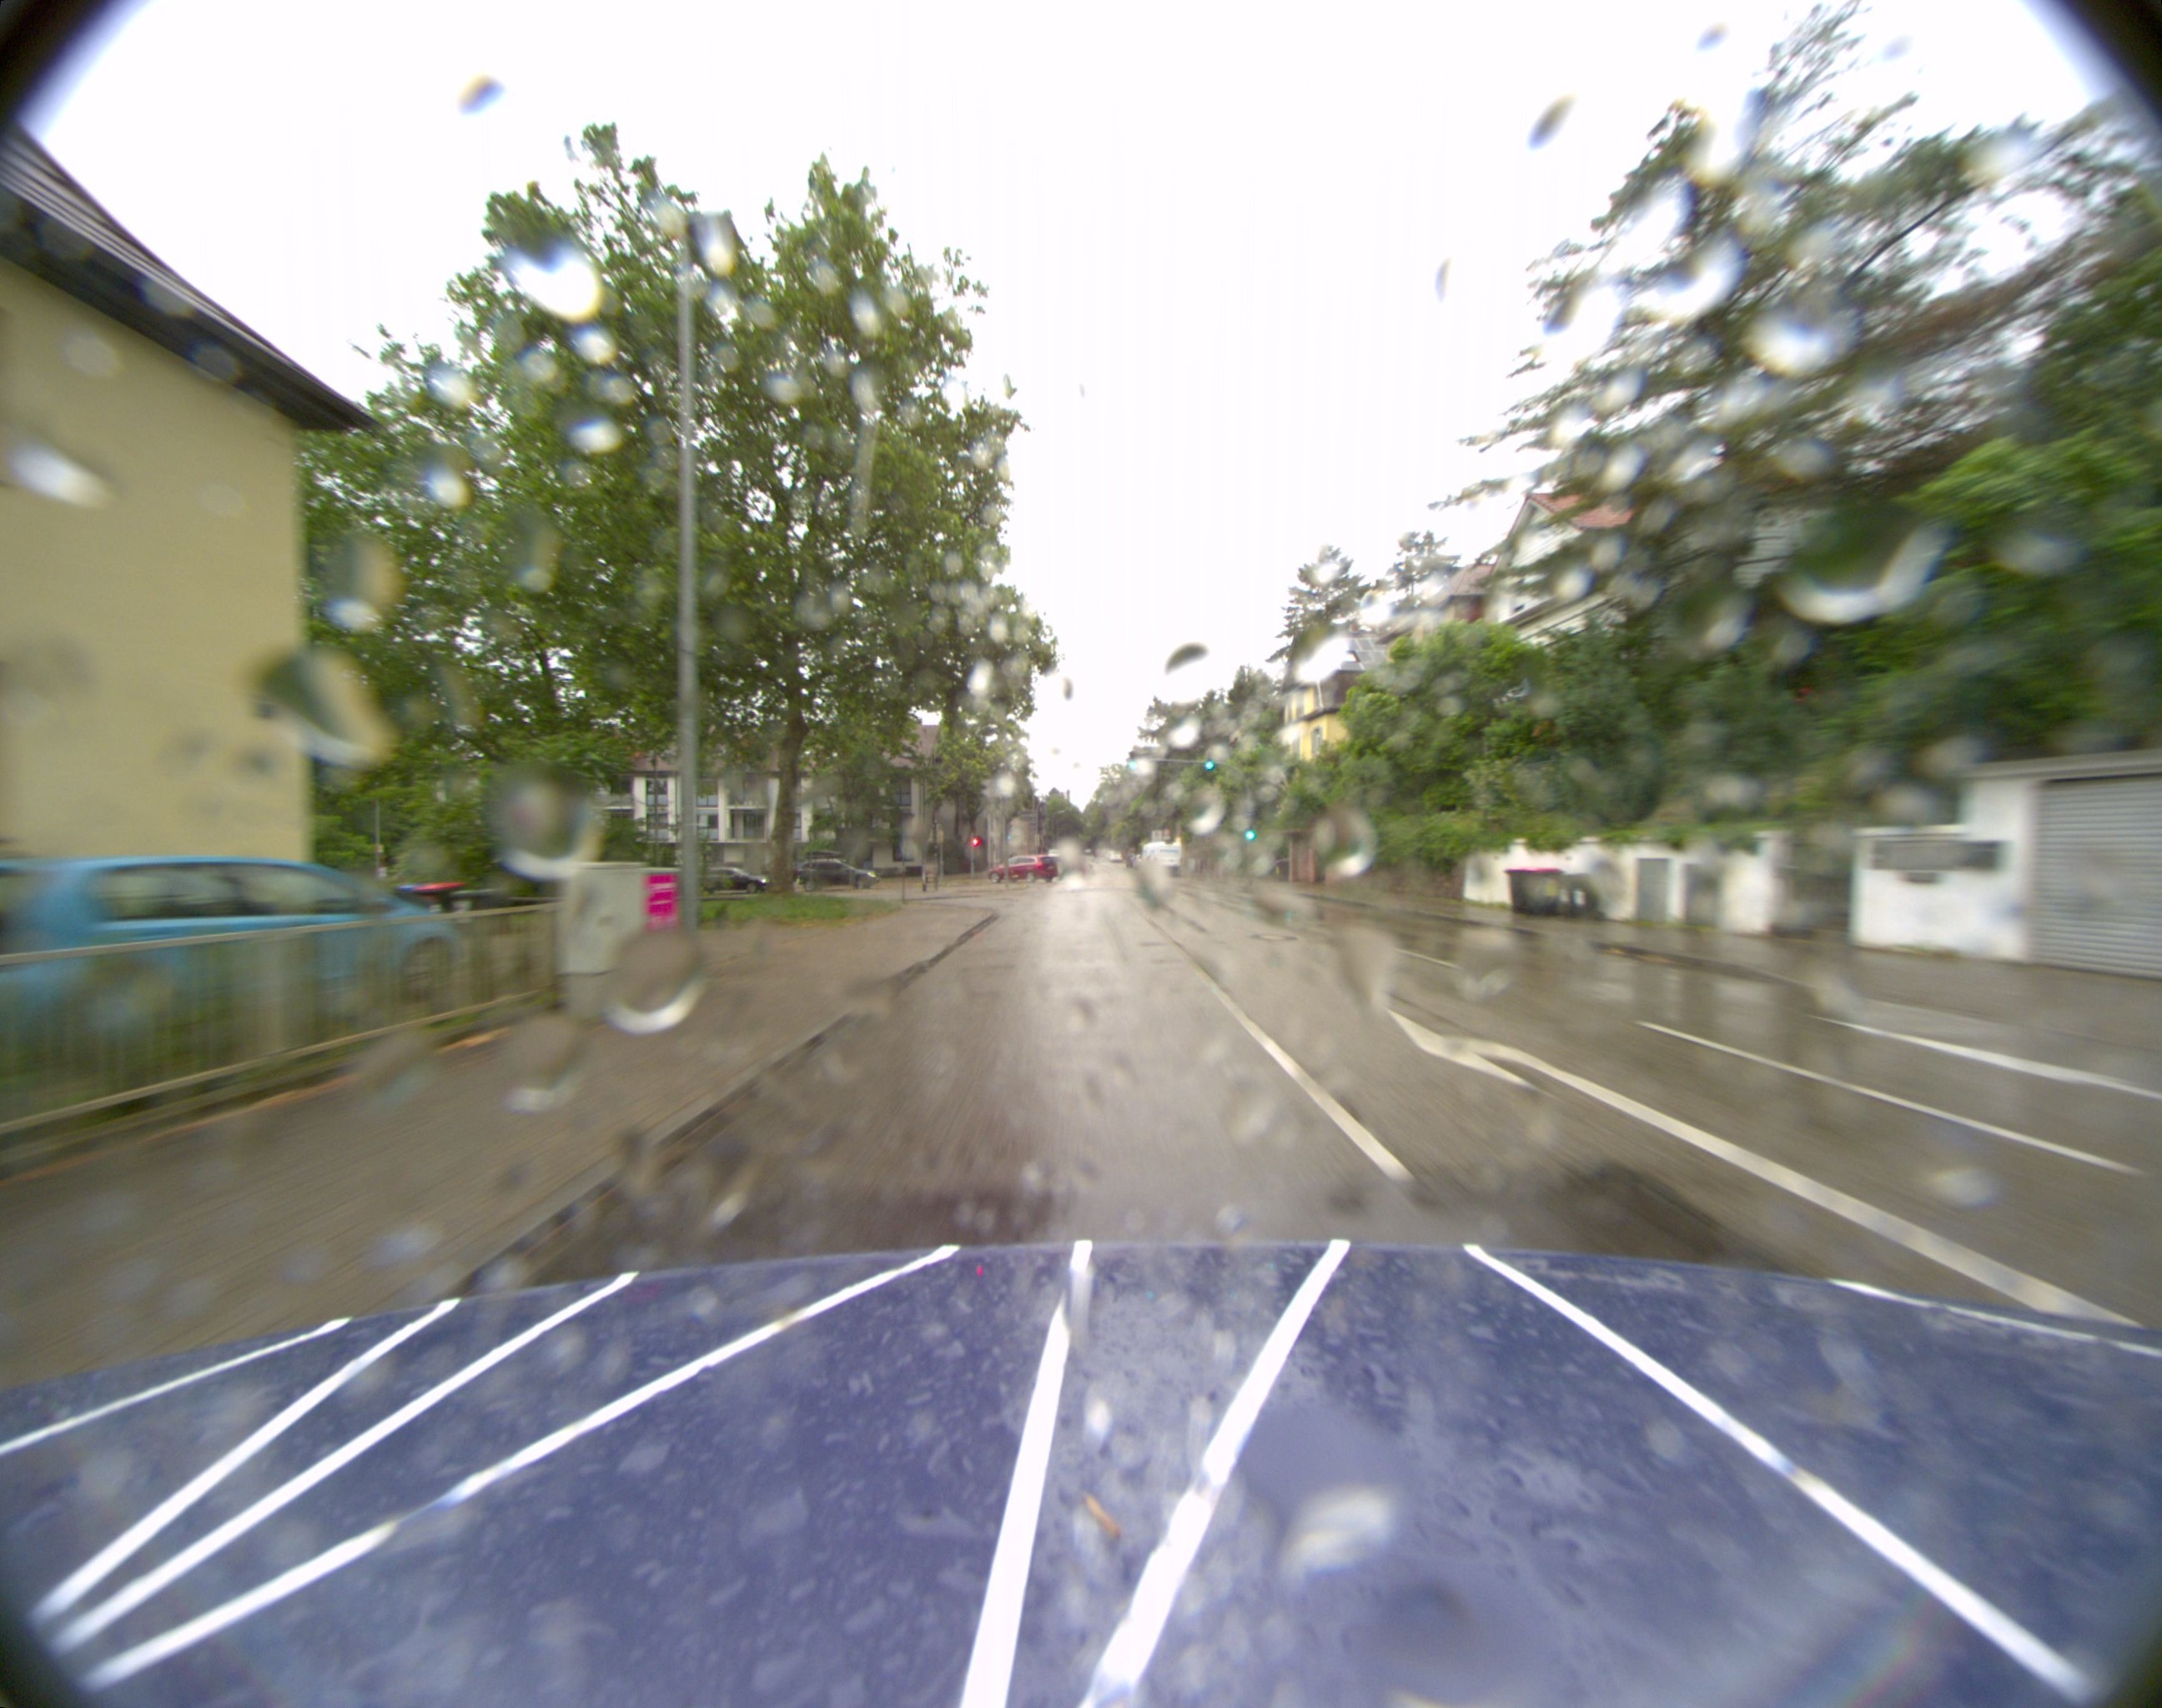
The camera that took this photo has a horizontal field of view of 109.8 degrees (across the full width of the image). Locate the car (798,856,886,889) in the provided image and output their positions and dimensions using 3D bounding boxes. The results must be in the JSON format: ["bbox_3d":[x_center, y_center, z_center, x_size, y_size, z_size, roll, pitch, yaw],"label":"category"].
[{"bbox_3d":[-12.945,0.986,41.340,4.227,1.677,1.709,-1,1,-6],"label":"car"}]

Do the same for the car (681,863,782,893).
[{"bbox_3d":[-18.685,1.264,40.799,4.624,1.438,1.609,-1,3,-6],"label":"car"}]

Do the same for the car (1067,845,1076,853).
[{"bbox_3d":[-2.270,-1.212,183.899,1.924,1.889,4.001,-1,0,6],"label":"car"}]

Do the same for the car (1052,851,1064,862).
[{"bbox_3d":[-4.039,0.416,134.413,1.925,1.889,3.999,-1,0,0],"label":"car"}]

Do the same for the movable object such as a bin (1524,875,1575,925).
[{"bbox_3d":[10.132,0.979,16.452,0.683,1.034,0.657,-1,1,-2],"label":"movable object such as a bin"}]

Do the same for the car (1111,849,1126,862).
[{"bbox_3d":[5.358,0.178,108.510,1.925,1.747,3.999,-1,0,0],"label":"car"}]

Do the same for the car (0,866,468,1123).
[{"bbox_3d":[-7.247,0.873,6.122,1.673,1.462,3.525,-1,0,1],"label":"car"}]

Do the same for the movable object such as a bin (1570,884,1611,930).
[{"bbox_3d":[10.210,1.061,15.230,0.532,0.893,0.416,-1,1,-2],"label":"movable object such as a bin"}]

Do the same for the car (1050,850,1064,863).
[{"bbox_3d":[-3.551,0.414,114.429,1.925,1.889,3.999,-1,0,0],"label":"car"}]

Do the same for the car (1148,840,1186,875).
[{"bbox_3d":[6.463,0.251,57.559,2.085,2.464,4.852,3,0,-1],"label":"car"}]

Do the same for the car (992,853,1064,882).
[{"bbox_3d":[-3.162,0.762,45.217,4.081,1.600,1.798,0,1,38],"label":"car"}]

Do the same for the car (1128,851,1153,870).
[{"bbox_3d":[6.365,0.671,81.715,2.162,1.815,4.915,3,0,-1],"label":"car"}]

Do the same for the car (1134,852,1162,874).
[{"bbox_3d":[6.539,0.819,74.689,2.162,1.944,4.915,3,0,-1],"label":"car"}]

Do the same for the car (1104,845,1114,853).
[{"bbox_3d":[6.948,-1.214,188.530,1.924,1.889,4.003,-1,0,9],"label":"car"}]

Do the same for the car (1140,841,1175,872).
[{"bbox_3d":[6.390,0.188,63.847,2.162,2.454,4.915,3,0,-1],"label":"car"}]

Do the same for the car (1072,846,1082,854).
[{"bbox_3d":[-0.991,-1.052,193.912,1.924,1.889,4.002,-1,0,7],"label":"car"}]

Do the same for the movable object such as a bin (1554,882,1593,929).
[{"bbox_3d":[10.162,1.057,15.680,0.544,0.934,0.416,-1,1,-2],"label":"movable object such as a bin"}]

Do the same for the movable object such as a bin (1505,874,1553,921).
[{"bbox_3d":[10.158,0.976,17.247,0.683,1.034,0.657,-1,1,-2],"label":"movable object such as a bin"}]
